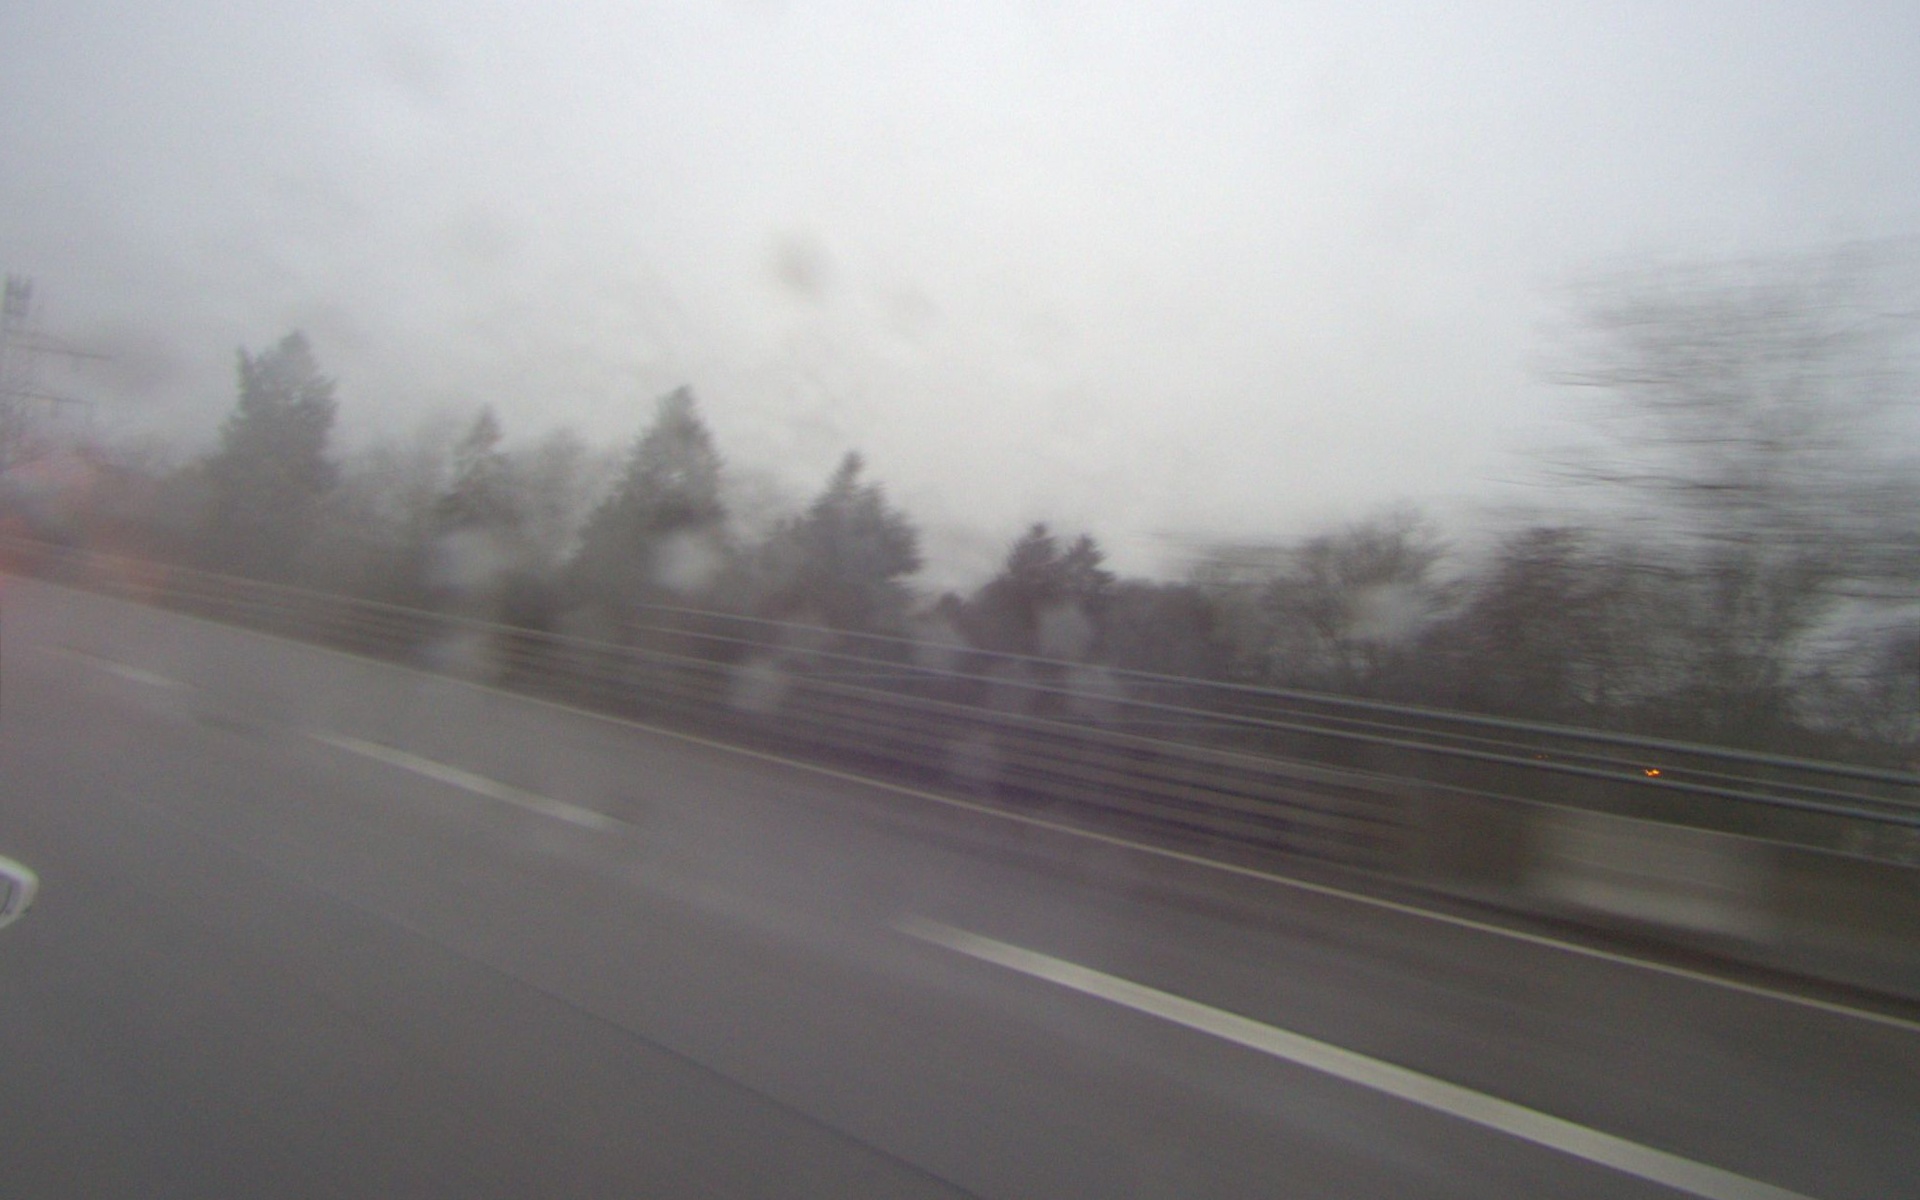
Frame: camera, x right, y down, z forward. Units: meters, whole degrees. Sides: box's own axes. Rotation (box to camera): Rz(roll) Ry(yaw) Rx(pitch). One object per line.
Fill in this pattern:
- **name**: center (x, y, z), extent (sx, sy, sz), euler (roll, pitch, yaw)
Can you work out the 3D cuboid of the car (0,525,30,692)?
- **car**: center (-10.719, -0.191, 9.522), extent (4.082, 1.471, 1.847), euler (7, 0, 34)
